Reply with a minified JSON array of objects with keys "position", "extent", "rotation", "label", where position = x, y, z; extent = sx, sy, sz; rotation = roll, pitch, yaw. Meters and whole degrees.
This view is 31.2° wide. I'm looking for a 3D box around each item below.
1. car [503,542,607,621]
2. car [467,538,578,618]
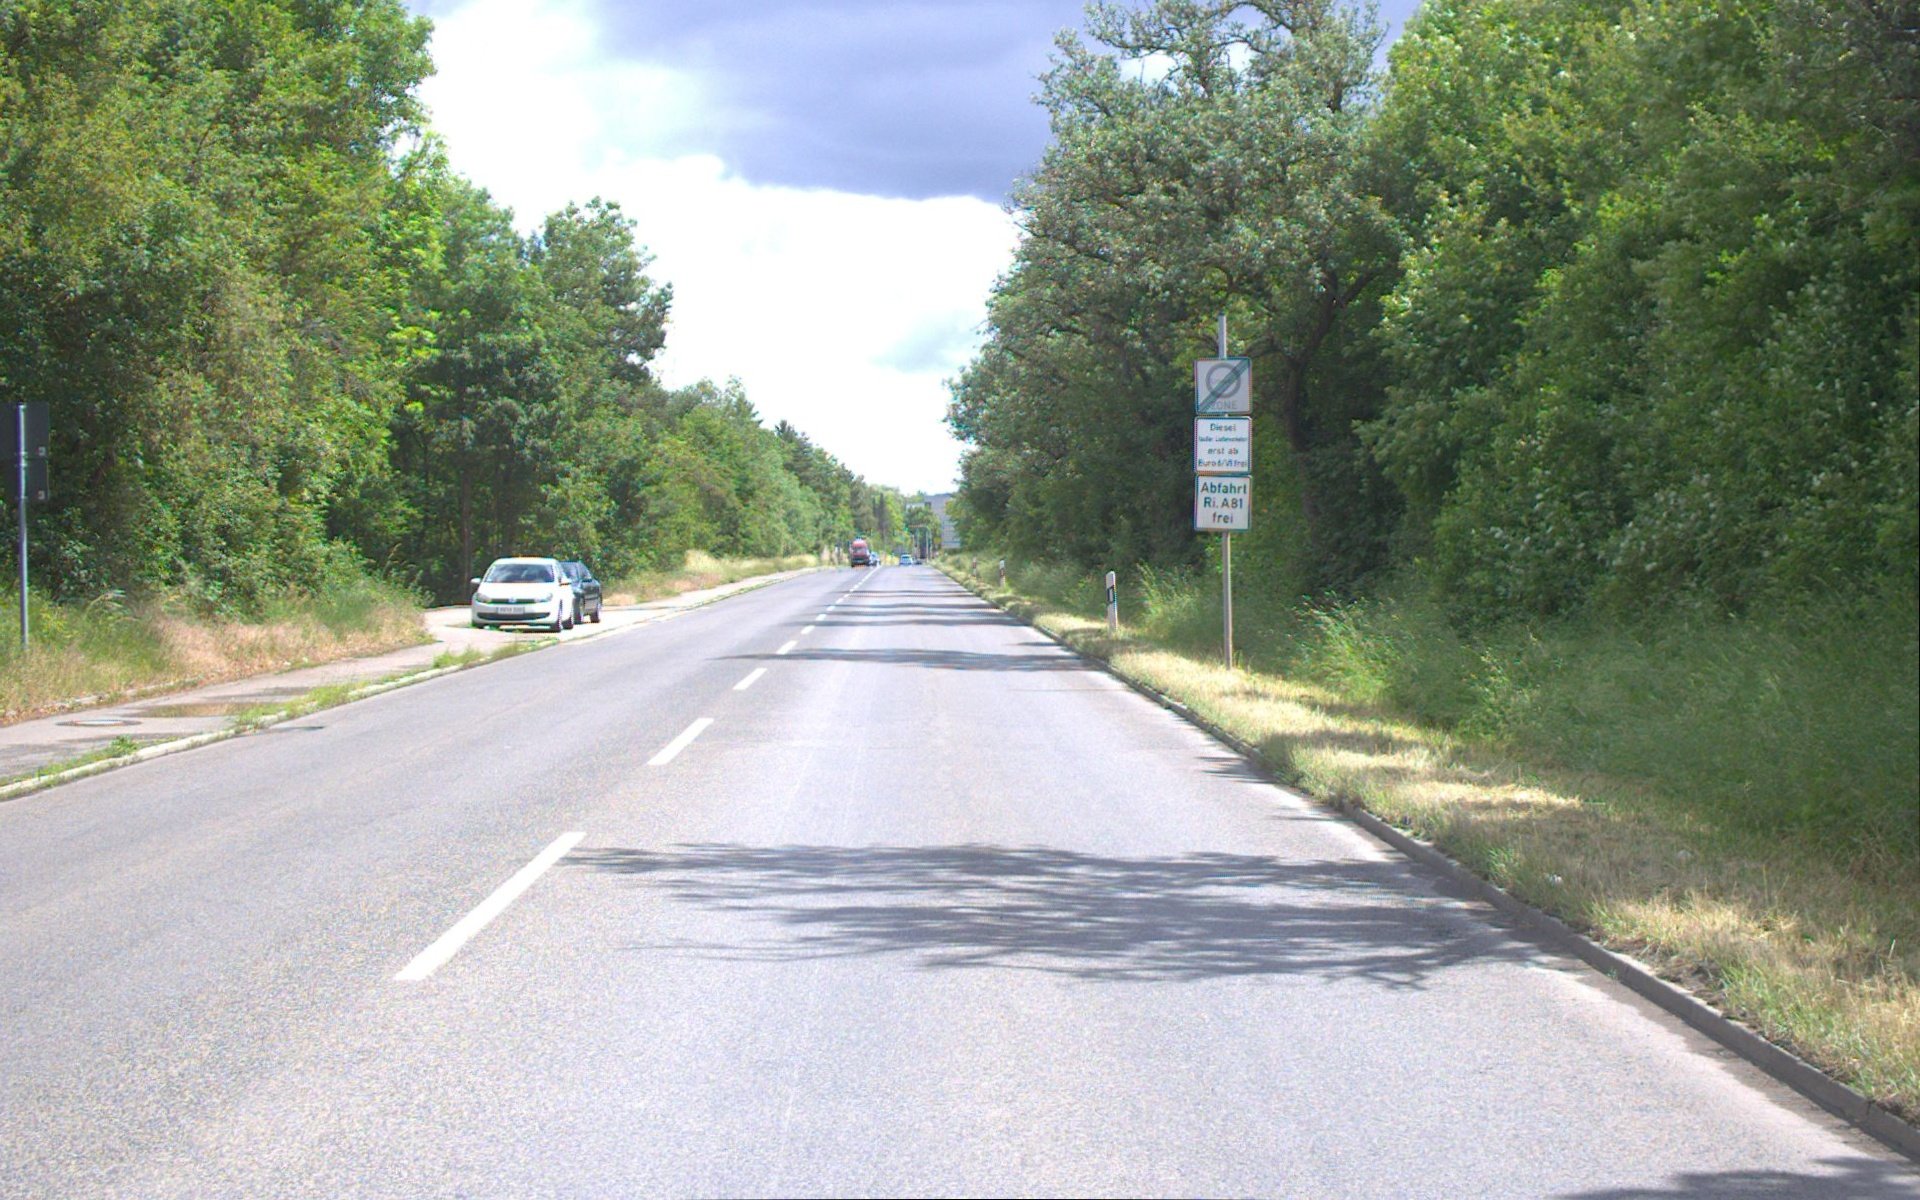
[{"position":[-9.056,-0.437,77.145],"extent":[1.798,1.619,3.955],"rotation":[-1,2,0],"label":"car"},{"position":[-8.819,-0.432,69.574],"extent":[1.798,1.538,3.955],"rotation":[-1,0,-1],"label":"car"}]
